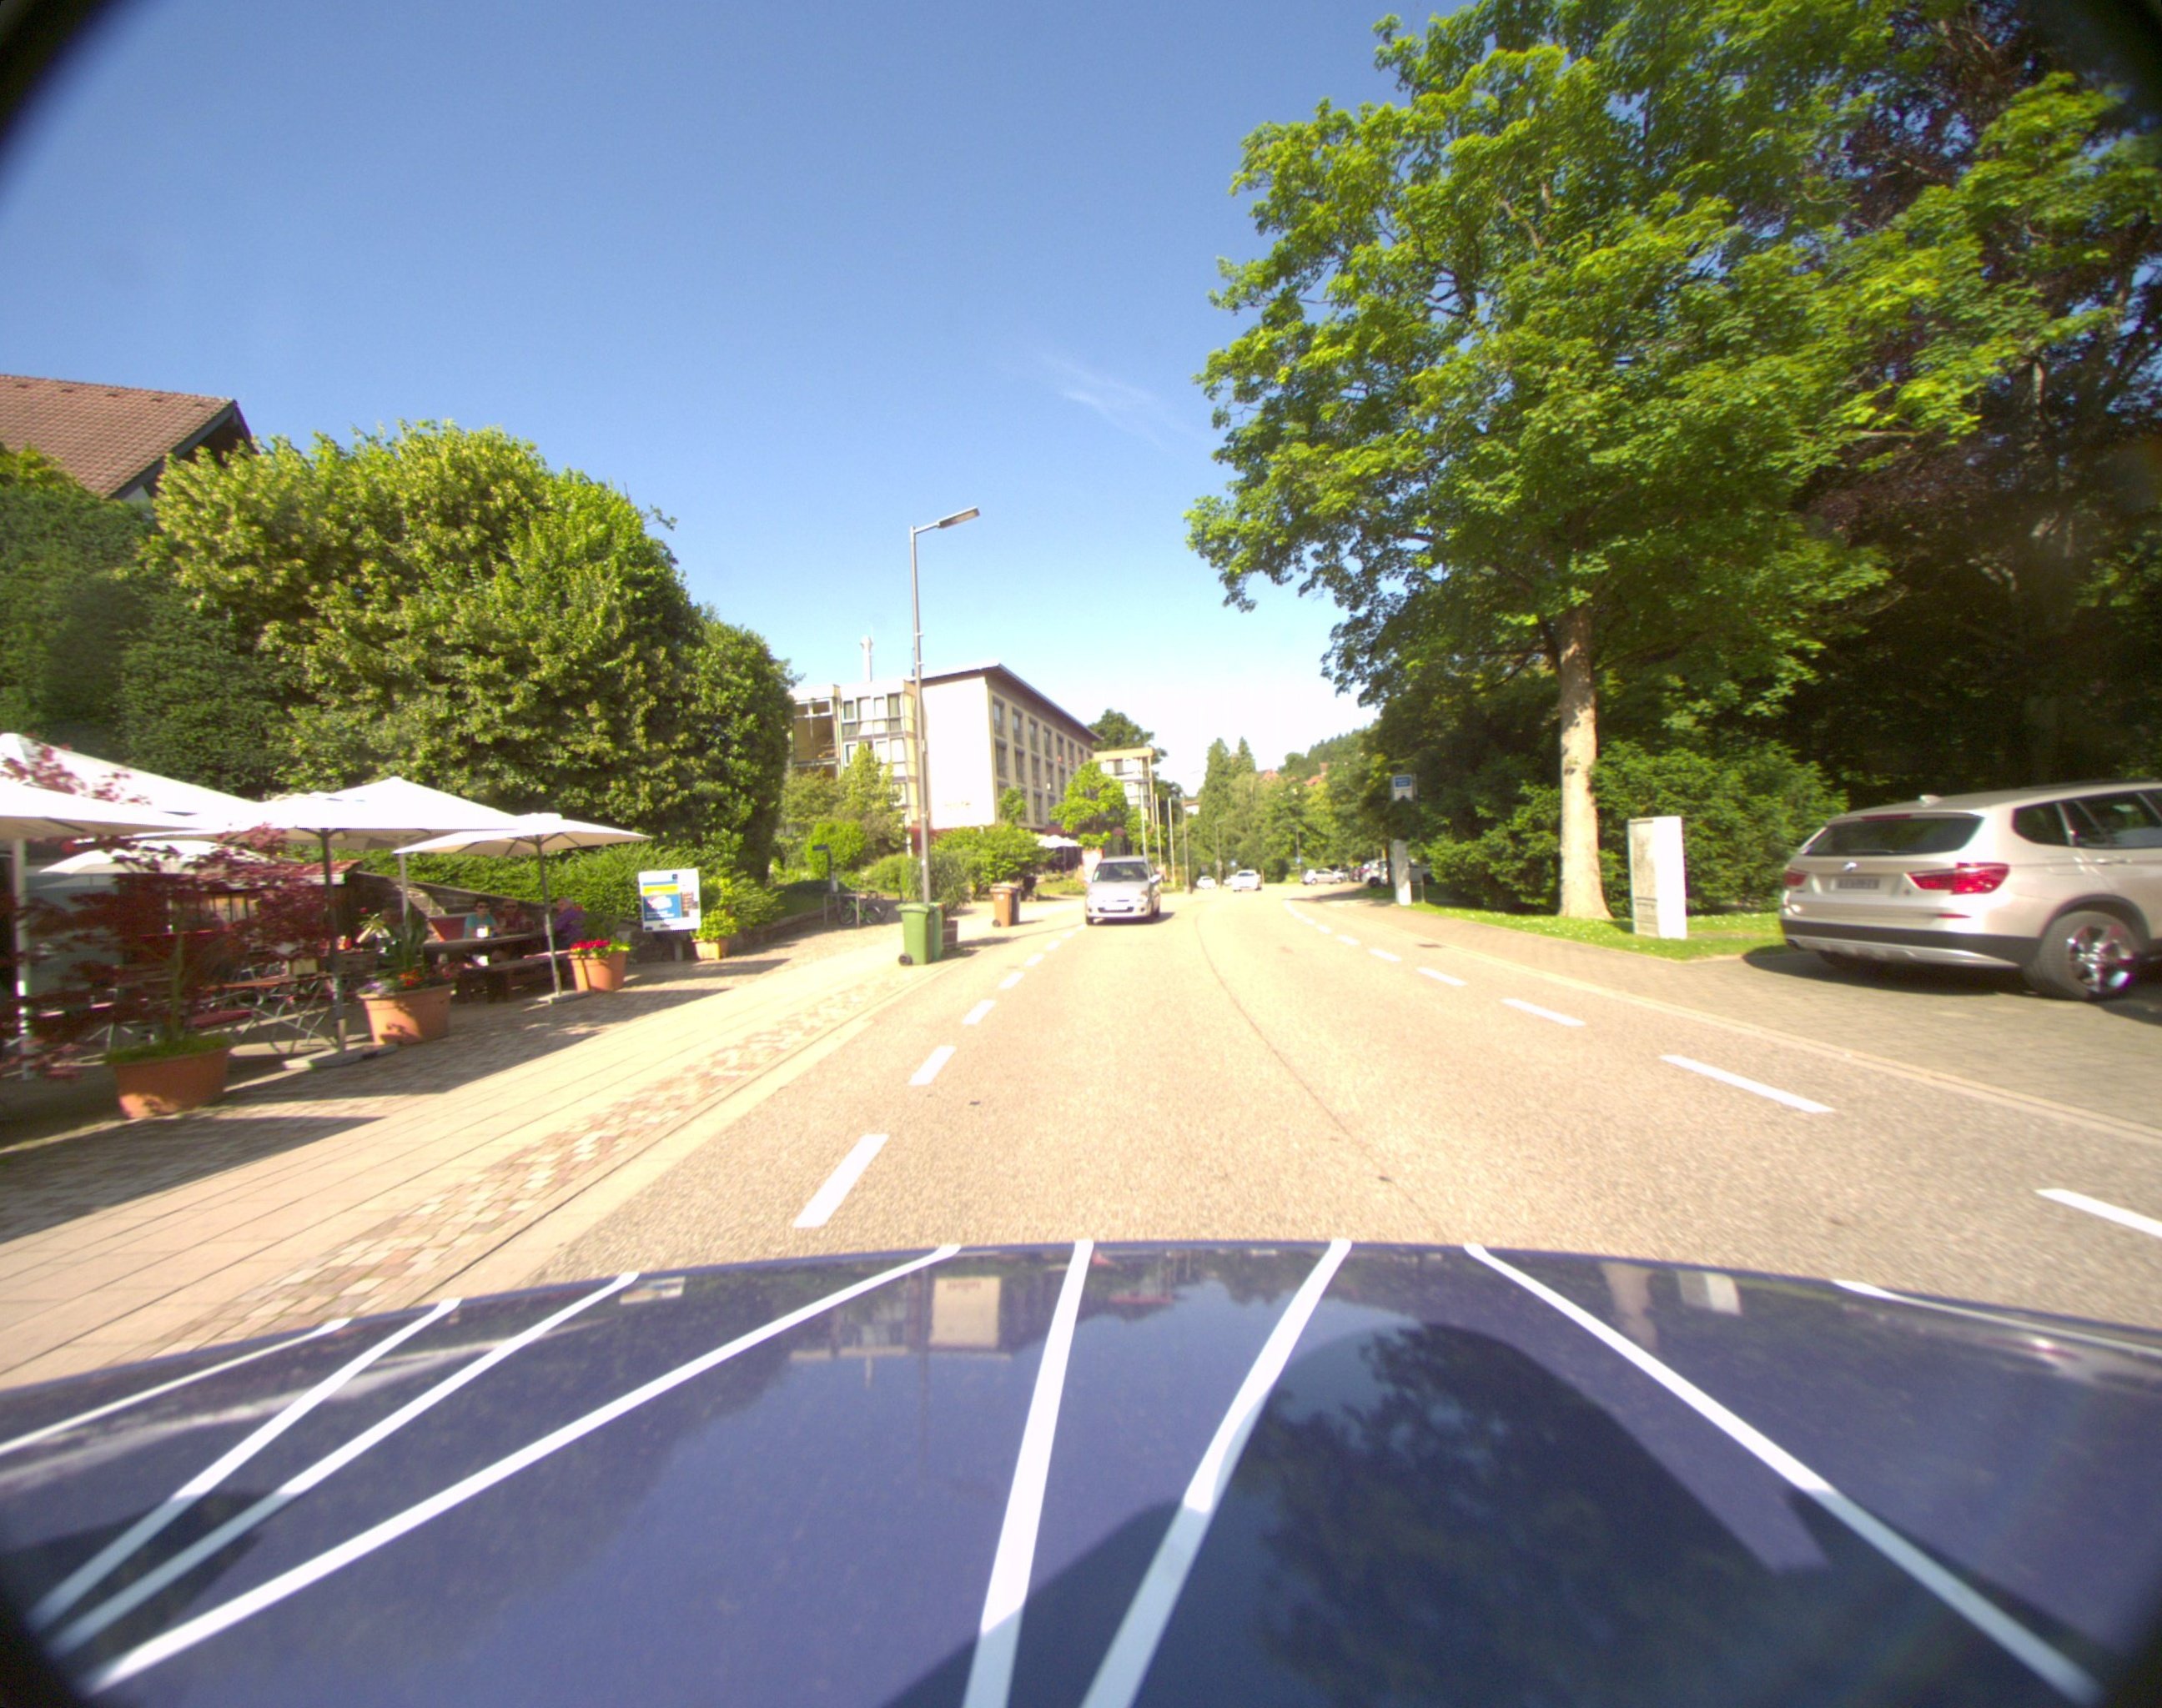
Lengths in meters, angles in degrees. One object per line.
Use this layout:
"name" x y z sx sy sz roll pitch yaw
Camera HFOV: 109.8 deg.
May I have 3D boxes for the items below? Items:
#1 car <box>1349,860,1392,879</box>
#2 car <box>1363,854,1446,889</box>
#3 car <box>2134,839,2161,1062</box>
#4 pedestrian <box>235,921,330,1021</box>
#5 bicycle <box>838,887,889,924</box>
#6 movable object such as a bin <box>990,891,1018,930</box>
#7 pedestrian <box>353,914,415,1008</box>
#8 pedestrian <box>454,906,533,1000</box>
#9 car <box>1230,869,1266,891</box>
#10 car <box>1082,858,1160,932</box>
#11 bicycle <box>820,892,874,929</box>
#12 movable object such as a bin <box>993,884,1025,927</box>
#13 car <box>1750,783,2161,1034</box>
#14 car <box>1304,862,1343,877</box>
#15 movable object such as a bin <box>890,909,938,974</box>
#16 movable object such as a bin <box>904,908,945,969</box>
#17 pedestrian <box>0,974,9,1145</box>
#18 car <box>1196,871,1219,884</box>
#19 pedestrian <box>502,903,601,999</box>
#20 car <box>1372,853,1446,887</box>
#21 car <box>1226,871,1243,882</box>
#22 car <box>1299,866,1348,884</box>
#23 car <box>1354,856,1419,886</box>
"car" 25.702 1.416 67.504 3.486 1.416 1.556 -5 -2 21
"car" 16.229 0.880 38.309 3.681 1.478 1.568 -4 -2 21
"car" 8.878 0.469 4.074 3.997 1.424 1.719 -5 1 0
"pedestrian" -10.715 1.550 10.211 0.507 1.224 0.700 -1 0 15
"bicycle" -6.072 1.414 21.195 1.544 0.977 0.385 -1 0 28
"movable object such as a bin" -1.852 1.364 18.377 0.526 0.906 0.563 -1 0 8
"pedestrian" -9.911 1.493 10.802 0.507 1.230 0.596 -1 0 44
"pedestrian" -8.564 1.423 11.099 0.649 1.276 0.645 -2 0 -7
"car" 11.744 1.791 53.154 1.738 1.488 3.936 -2 -1 22
"car" 1.098 0.940 19.077 1.604 1.628 4.003 -1 0 8
"bicycle" -6.173 1.479 20.003 1.544 0.904 0.385 0 0 28
"movable object such as a bin" -1.796 1.283 18.941 0.657 1.026 0.572 -1 0 8
"car" 8.907 0.313 6.688 4.495 1.654 1.809 -5 1 -3
"car" 28.294 1.818 88.622 3.998 1.468 1.516 -3 -2 -3
"movable object such as a bin" -2.539 1.328 11.569 0.549 0.920 0.520 -2 0 5
"movable object such as a bin" -2.486 1.341 12.099 0.515 0.907 0.442 -2 0 5
"pedestrian" -7.619 1.396 4.933 0.474 1.238 0.592 -2 1 -21
"car" 16.296 3.004 97.800 1.741 1.389 3.997 -2 0 -8
"pedestrian" -7.698 1.390 11.080 0.951 1.276 0.645 -2 0 -7
"car" 17.470 0.852 40.565 3.486 1.542 1.382 -4 -2 21
"car" 21.488 3.214 106.615 1.775 1.495 4.002 -2 -2 2
"car" 22.898 1.961 71.788 3.998 1.388 1.516 -4 -3 -5
"car" 18.419 1.048 45.916 3.486 1.535 1.446 -5 -2 21
